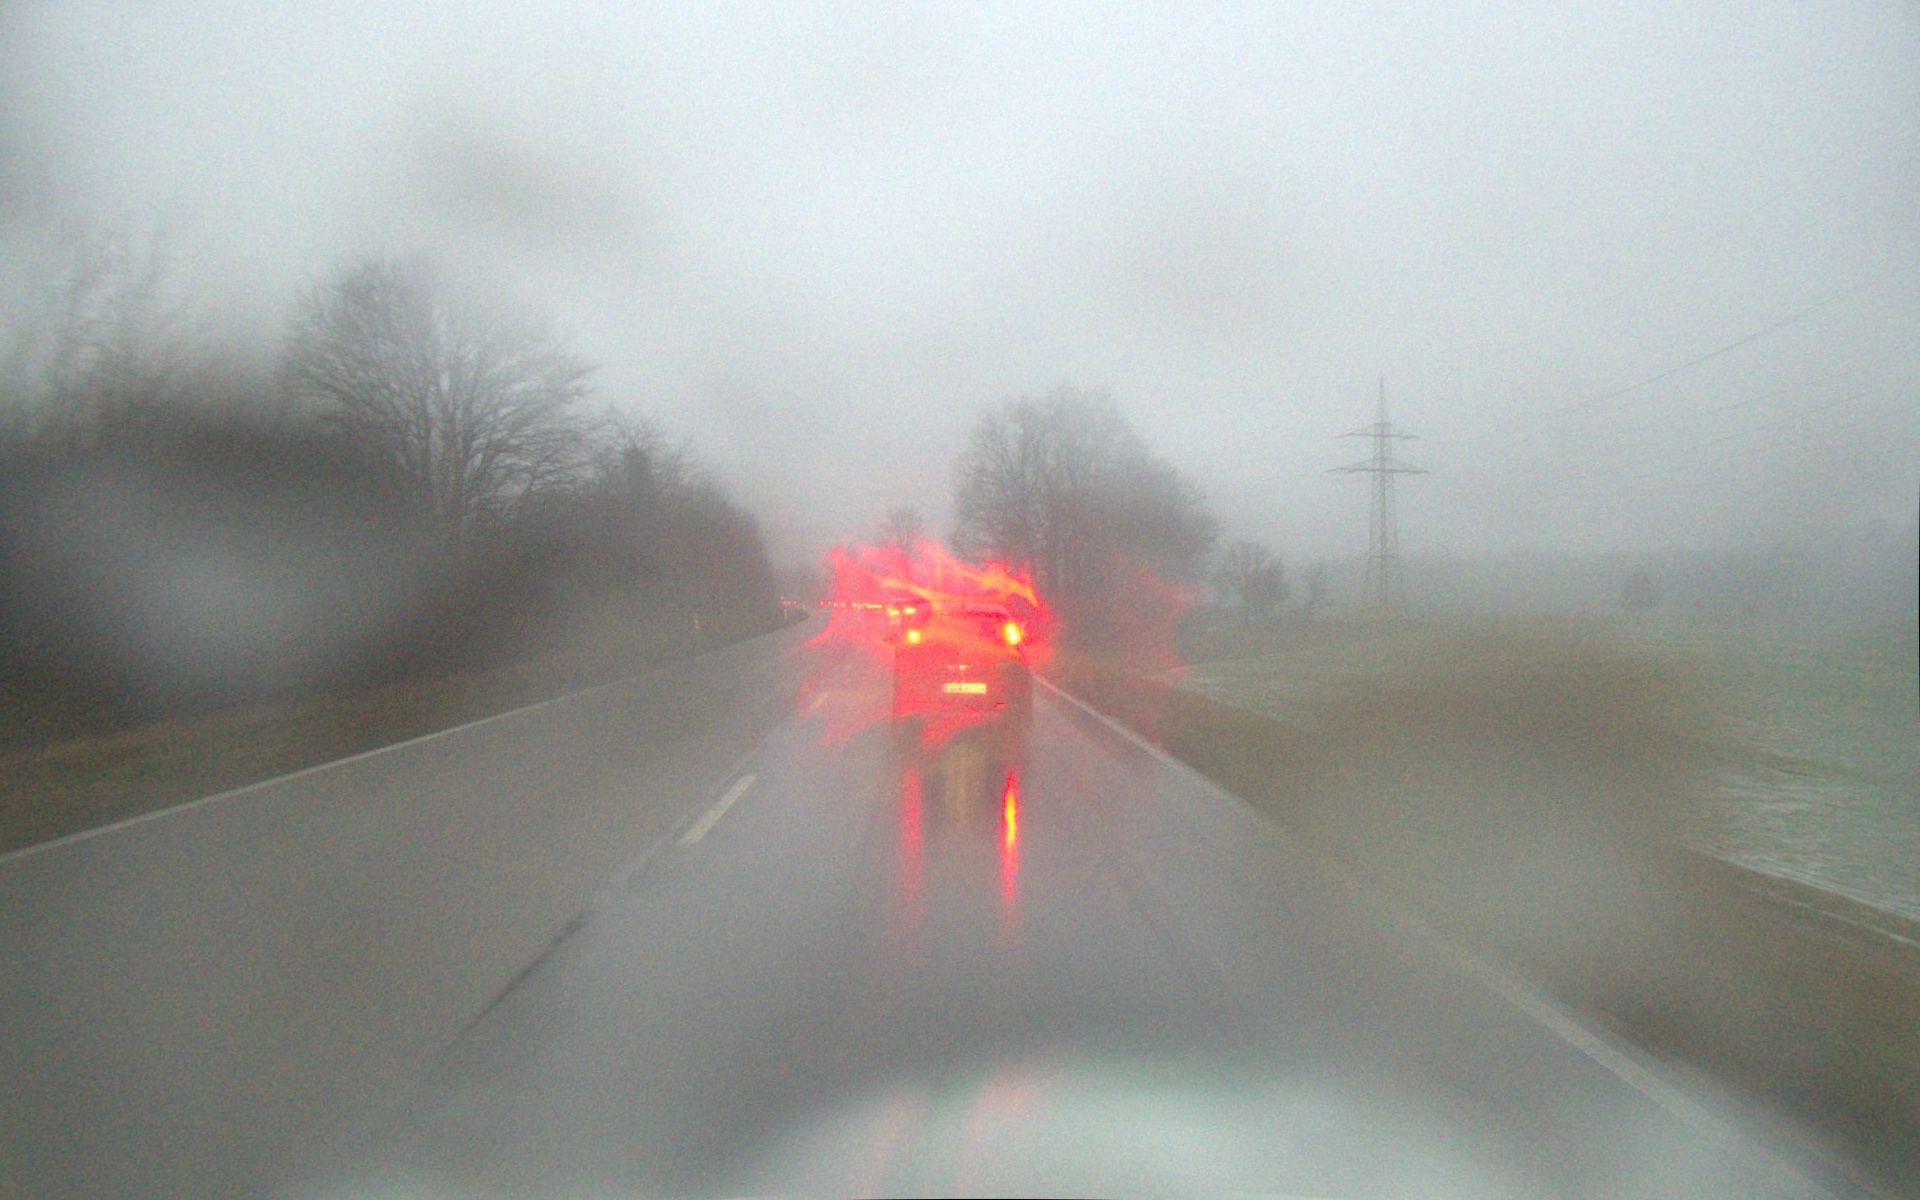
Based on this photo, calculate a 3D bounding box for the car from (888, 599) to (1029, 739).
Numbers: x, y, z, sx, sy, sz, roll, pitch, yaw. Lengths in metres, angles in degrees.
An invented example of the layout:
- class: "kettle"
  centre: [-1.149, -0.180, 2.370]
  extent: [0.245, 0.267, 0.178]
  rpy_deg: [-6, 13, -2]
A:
- class: "car"
  centre: [-0.001, 0.786, 20.620]
  extent: [1.569, 1.549, 3.869]
  rpy_deg: [1, 0, 0]

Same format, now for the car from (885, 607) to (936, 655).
- class: "car"
  centre: [-1.564, 0.929, 51.513]
  extent: [1.516, 1.421, 3.867]
  rpy_deg: [1, 0, -2]

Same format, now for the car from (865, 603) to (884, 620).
- class: "car"
  centre: [-7.391, 1.006, 143.200]
  extent: [1.515, 1.421, 3.868]
  rpy_deg: [1, 0, -1]
